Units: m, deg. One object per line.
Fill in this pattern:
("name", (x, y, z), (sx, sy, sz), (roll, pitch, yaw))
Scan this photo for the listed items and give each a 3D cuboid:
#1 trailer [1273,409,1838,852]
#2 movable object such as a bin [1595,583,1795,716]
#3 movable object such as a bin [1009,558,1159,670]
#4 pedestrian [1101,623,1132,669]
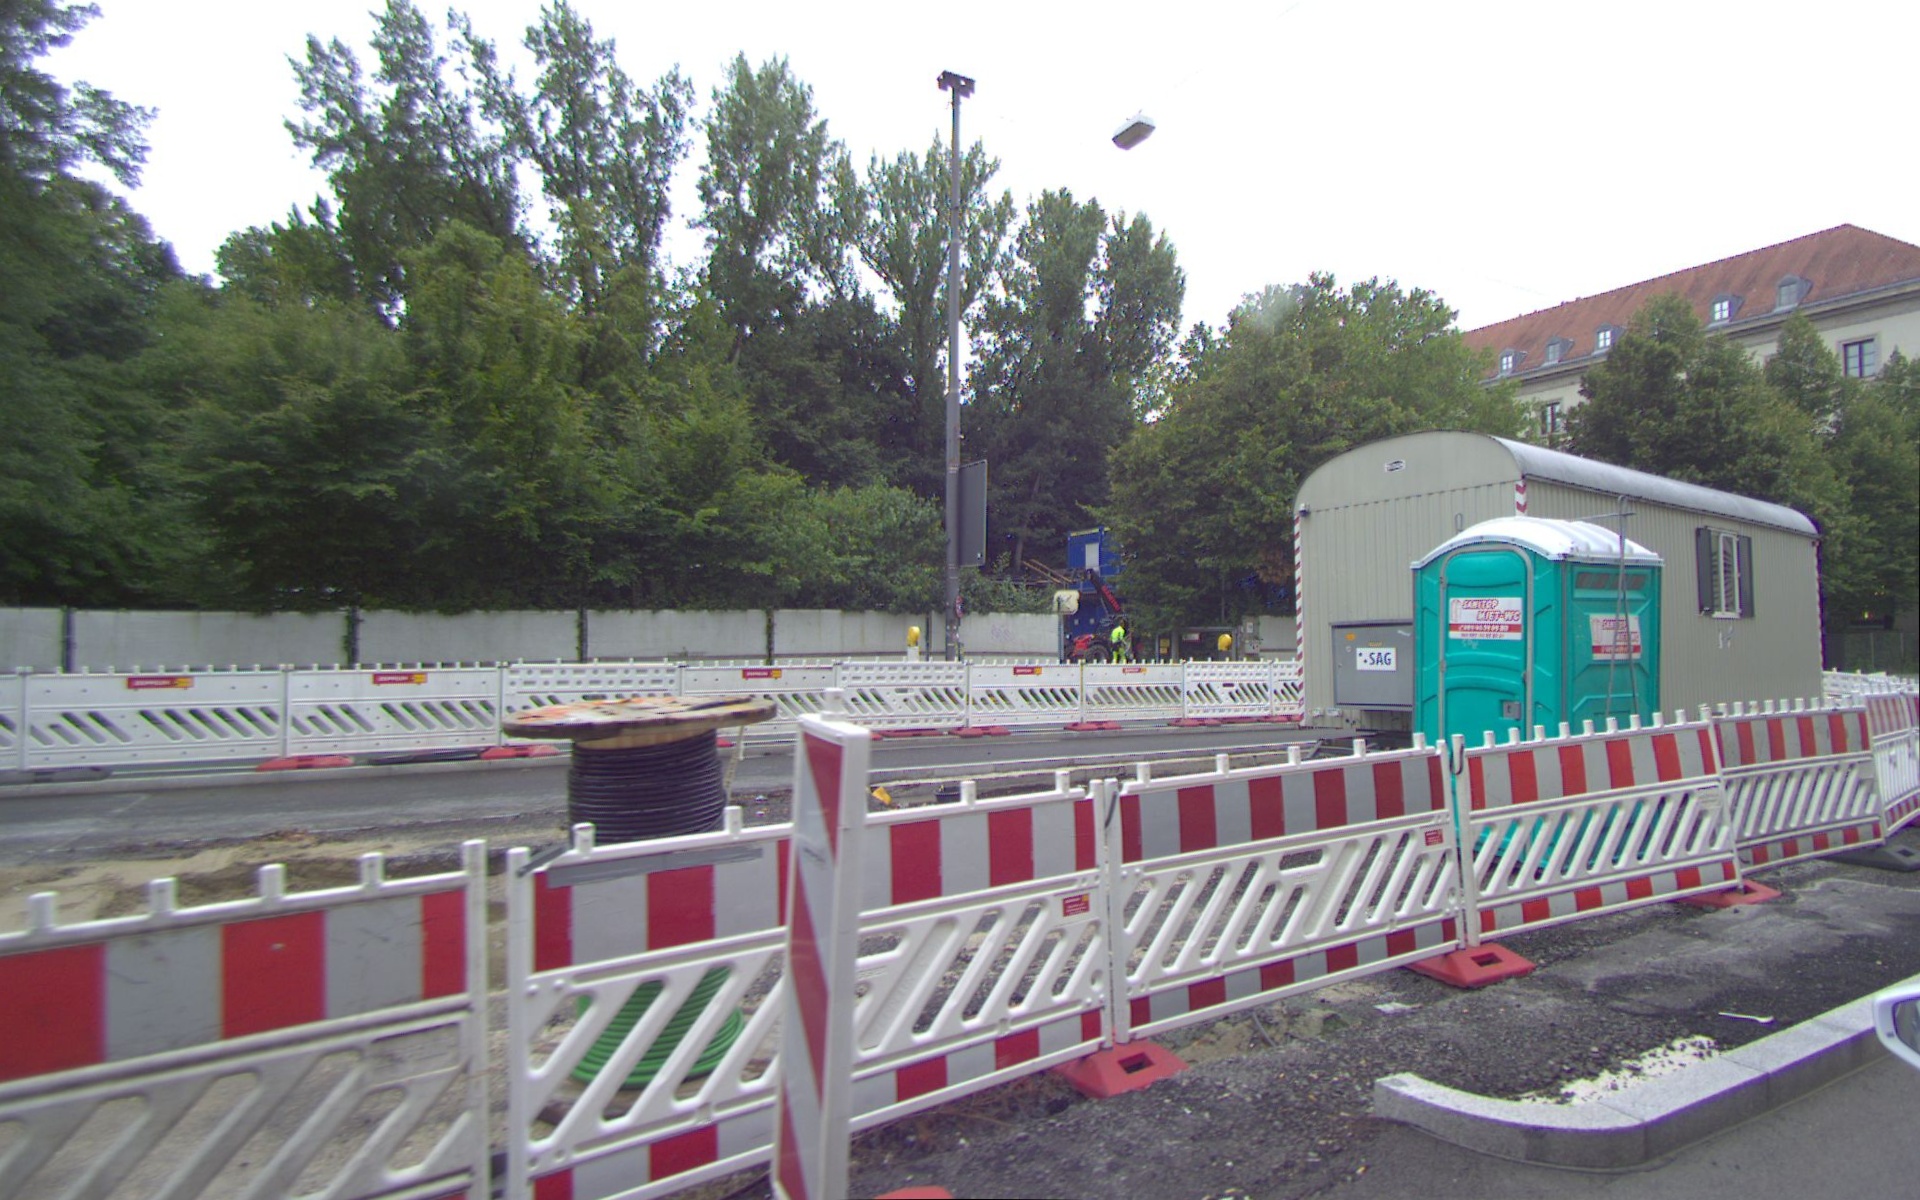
("trailer", (6.565, 0.333, 10.509), (7.444, 3.286, 2.212), (2, -2, -35))
("movable object such as a bin", (16.367, 1.077, 22.335), (4.614, 2.675, 1.983), (1, -2, -32))
("movable object such as a bin", (4.374, 0.521, 35.194), (5.120, 3.677, 1.984), (1, -1, -31))
("pedestrian", (5.301, 1.546, 34.017), (0.777, 1.555, 0.677), (1, -1, -31))
